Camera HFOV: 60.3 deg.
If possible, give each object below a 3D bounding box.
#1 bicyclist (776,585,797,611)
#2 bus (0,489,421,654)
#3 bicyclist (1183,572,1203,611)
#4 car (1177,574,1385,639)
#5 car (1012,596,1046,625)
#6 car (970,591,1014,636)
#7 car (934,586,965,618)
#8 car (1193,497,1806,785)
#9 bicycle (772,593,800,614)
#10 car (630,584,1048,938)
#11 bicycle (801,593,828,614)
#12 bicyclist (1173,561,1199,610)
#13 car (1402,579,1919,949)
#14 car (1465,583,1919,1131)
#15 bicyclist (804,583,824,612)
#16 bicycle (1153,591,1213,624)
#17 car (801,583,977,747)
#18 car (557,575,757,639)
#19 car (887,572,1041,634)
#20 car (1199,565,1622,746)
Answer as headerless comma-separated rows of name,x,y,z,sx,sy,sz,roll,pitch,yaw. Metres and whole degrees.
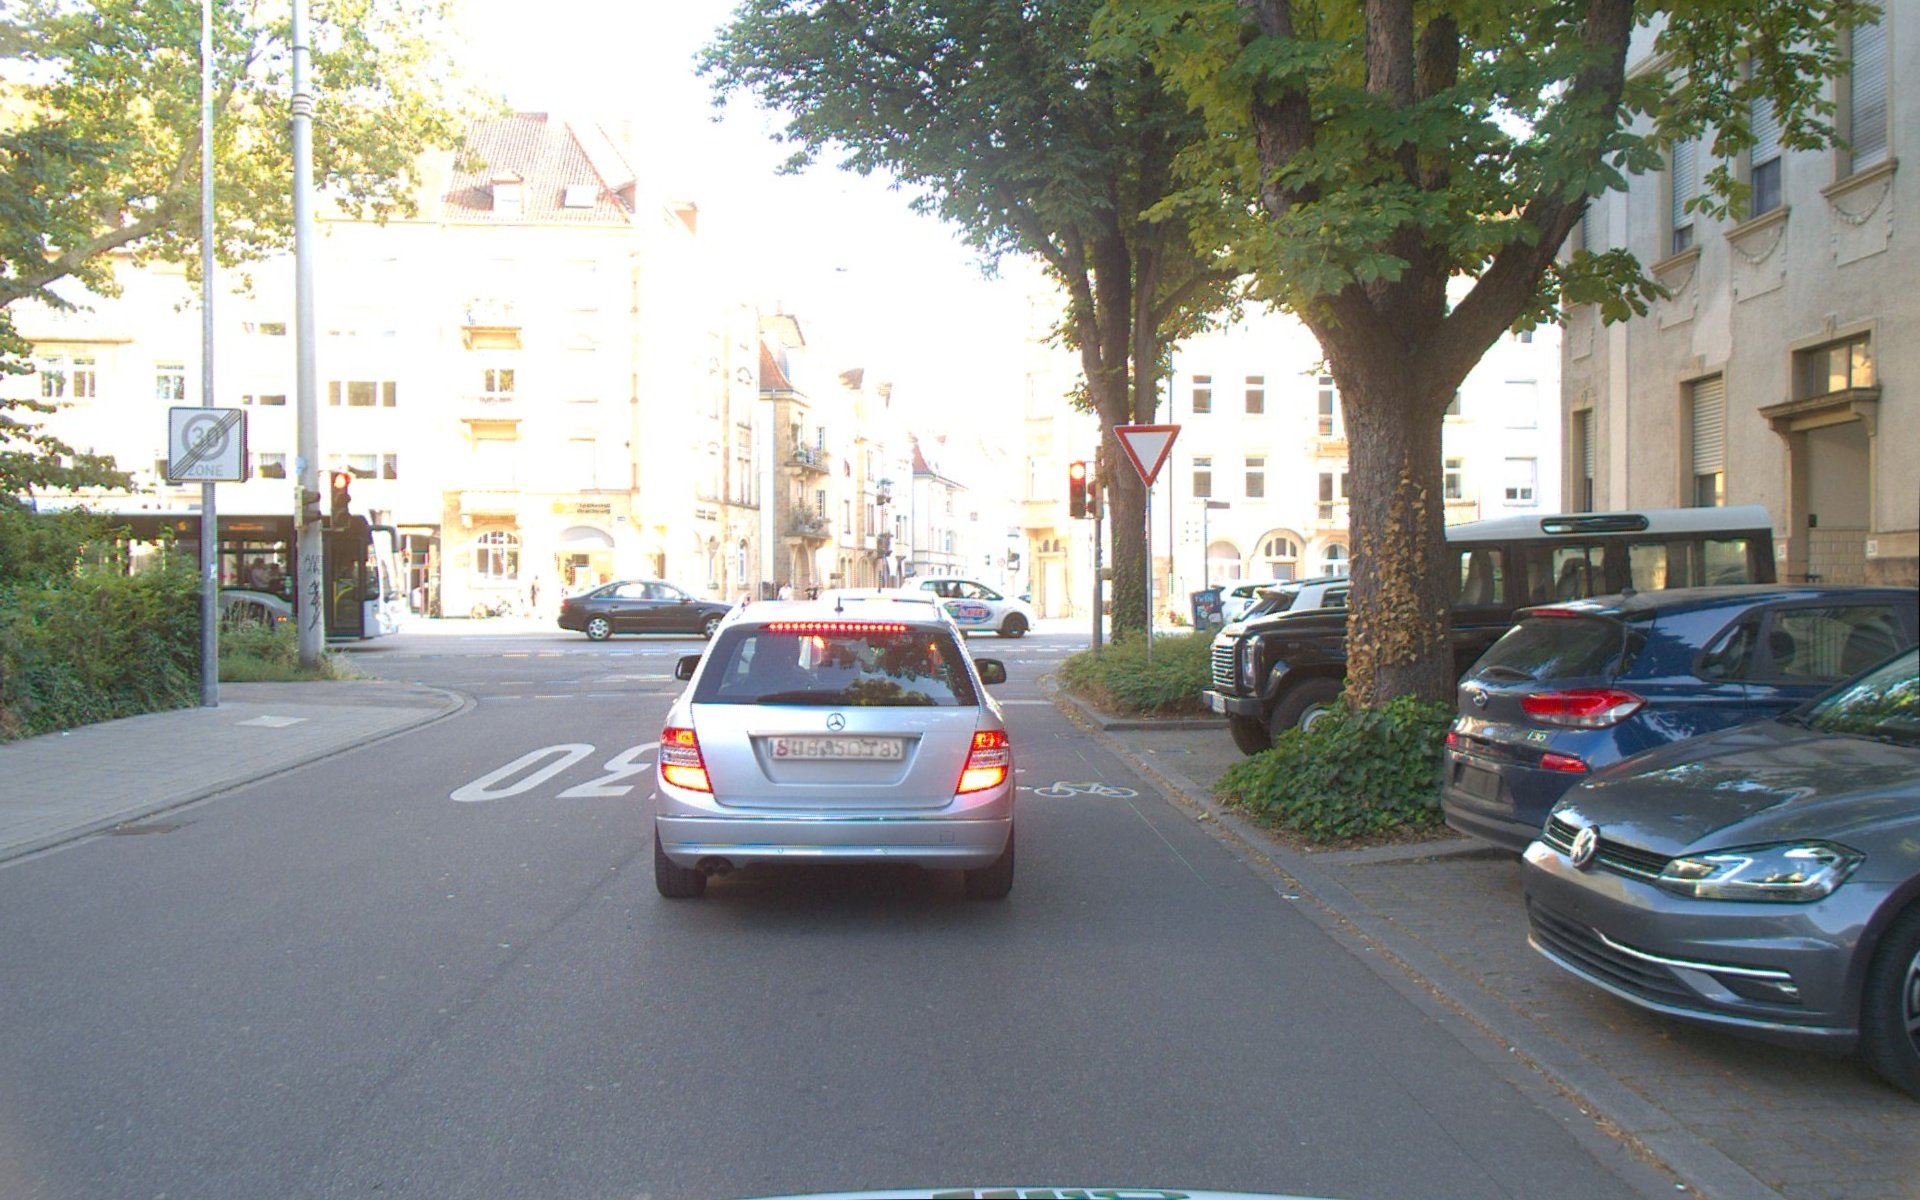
bicyclist,-8.019,-0.077,76.429,0.754,1.177,0.753,1,1,10
bus,-16.849,-0.606,34.498,10.259,3.257,2.905,-1,1,-9
bicyclist,8.756,-0.318,62.222,0.631,1.451,0.636,0,0,-6
car,7.622,0.140,39.391,4.577,1.473,1.735,0,0,-10
car,4.405,0.653,105.168,1.796,1.775,4.004,0,1,7
car,1.743,0.706,89.077,1.987,2.319,4.004,0,1,7
car,-0.727,0.134,120.477,1.749,2.242,4.004,0,1,7
car,4.236,0.291,13.375,4.378,2.071,1.699,-1,0,-5
bicycle,-8.037,0.150,76.353,0.754,0.956,1.942,1,1,10
car,-0.610,0.661,9.223,1.741,1.477,4.545,1,0,-3
bicycle,-6.741,0.162,76.469,0.754,0.950,1.942,1,1,10
bicyclist,8.704,-0.565,63.735,0.874,1.892,0.636,0,0,-6
car,4.166,0.651,7.810,3.650,1.477,1.707,-1,0,-5
car,3.969,0.673,5.574,3.974,1.477,1.721,-1,0,-5
bicyclist,-6.739,-0.137,76.467,0.754,1.312,0.753,1,1,10
bicycle,8.583,0.285,63.729,2.213,1.268,0.636,0,0,-6
car,-0.747,0.574,17.174,1.587,1.472,4.342,1,0,-3
car,-7.214,0.144,39.660,4.603,1.453,1.715,0,0,-10
car,0.079,0.055,40.694,3.619,1.474,1.513,0,0,-10
car,4.360,0.510,16.327,3.650,1.597,1.707,-1,0,-5
